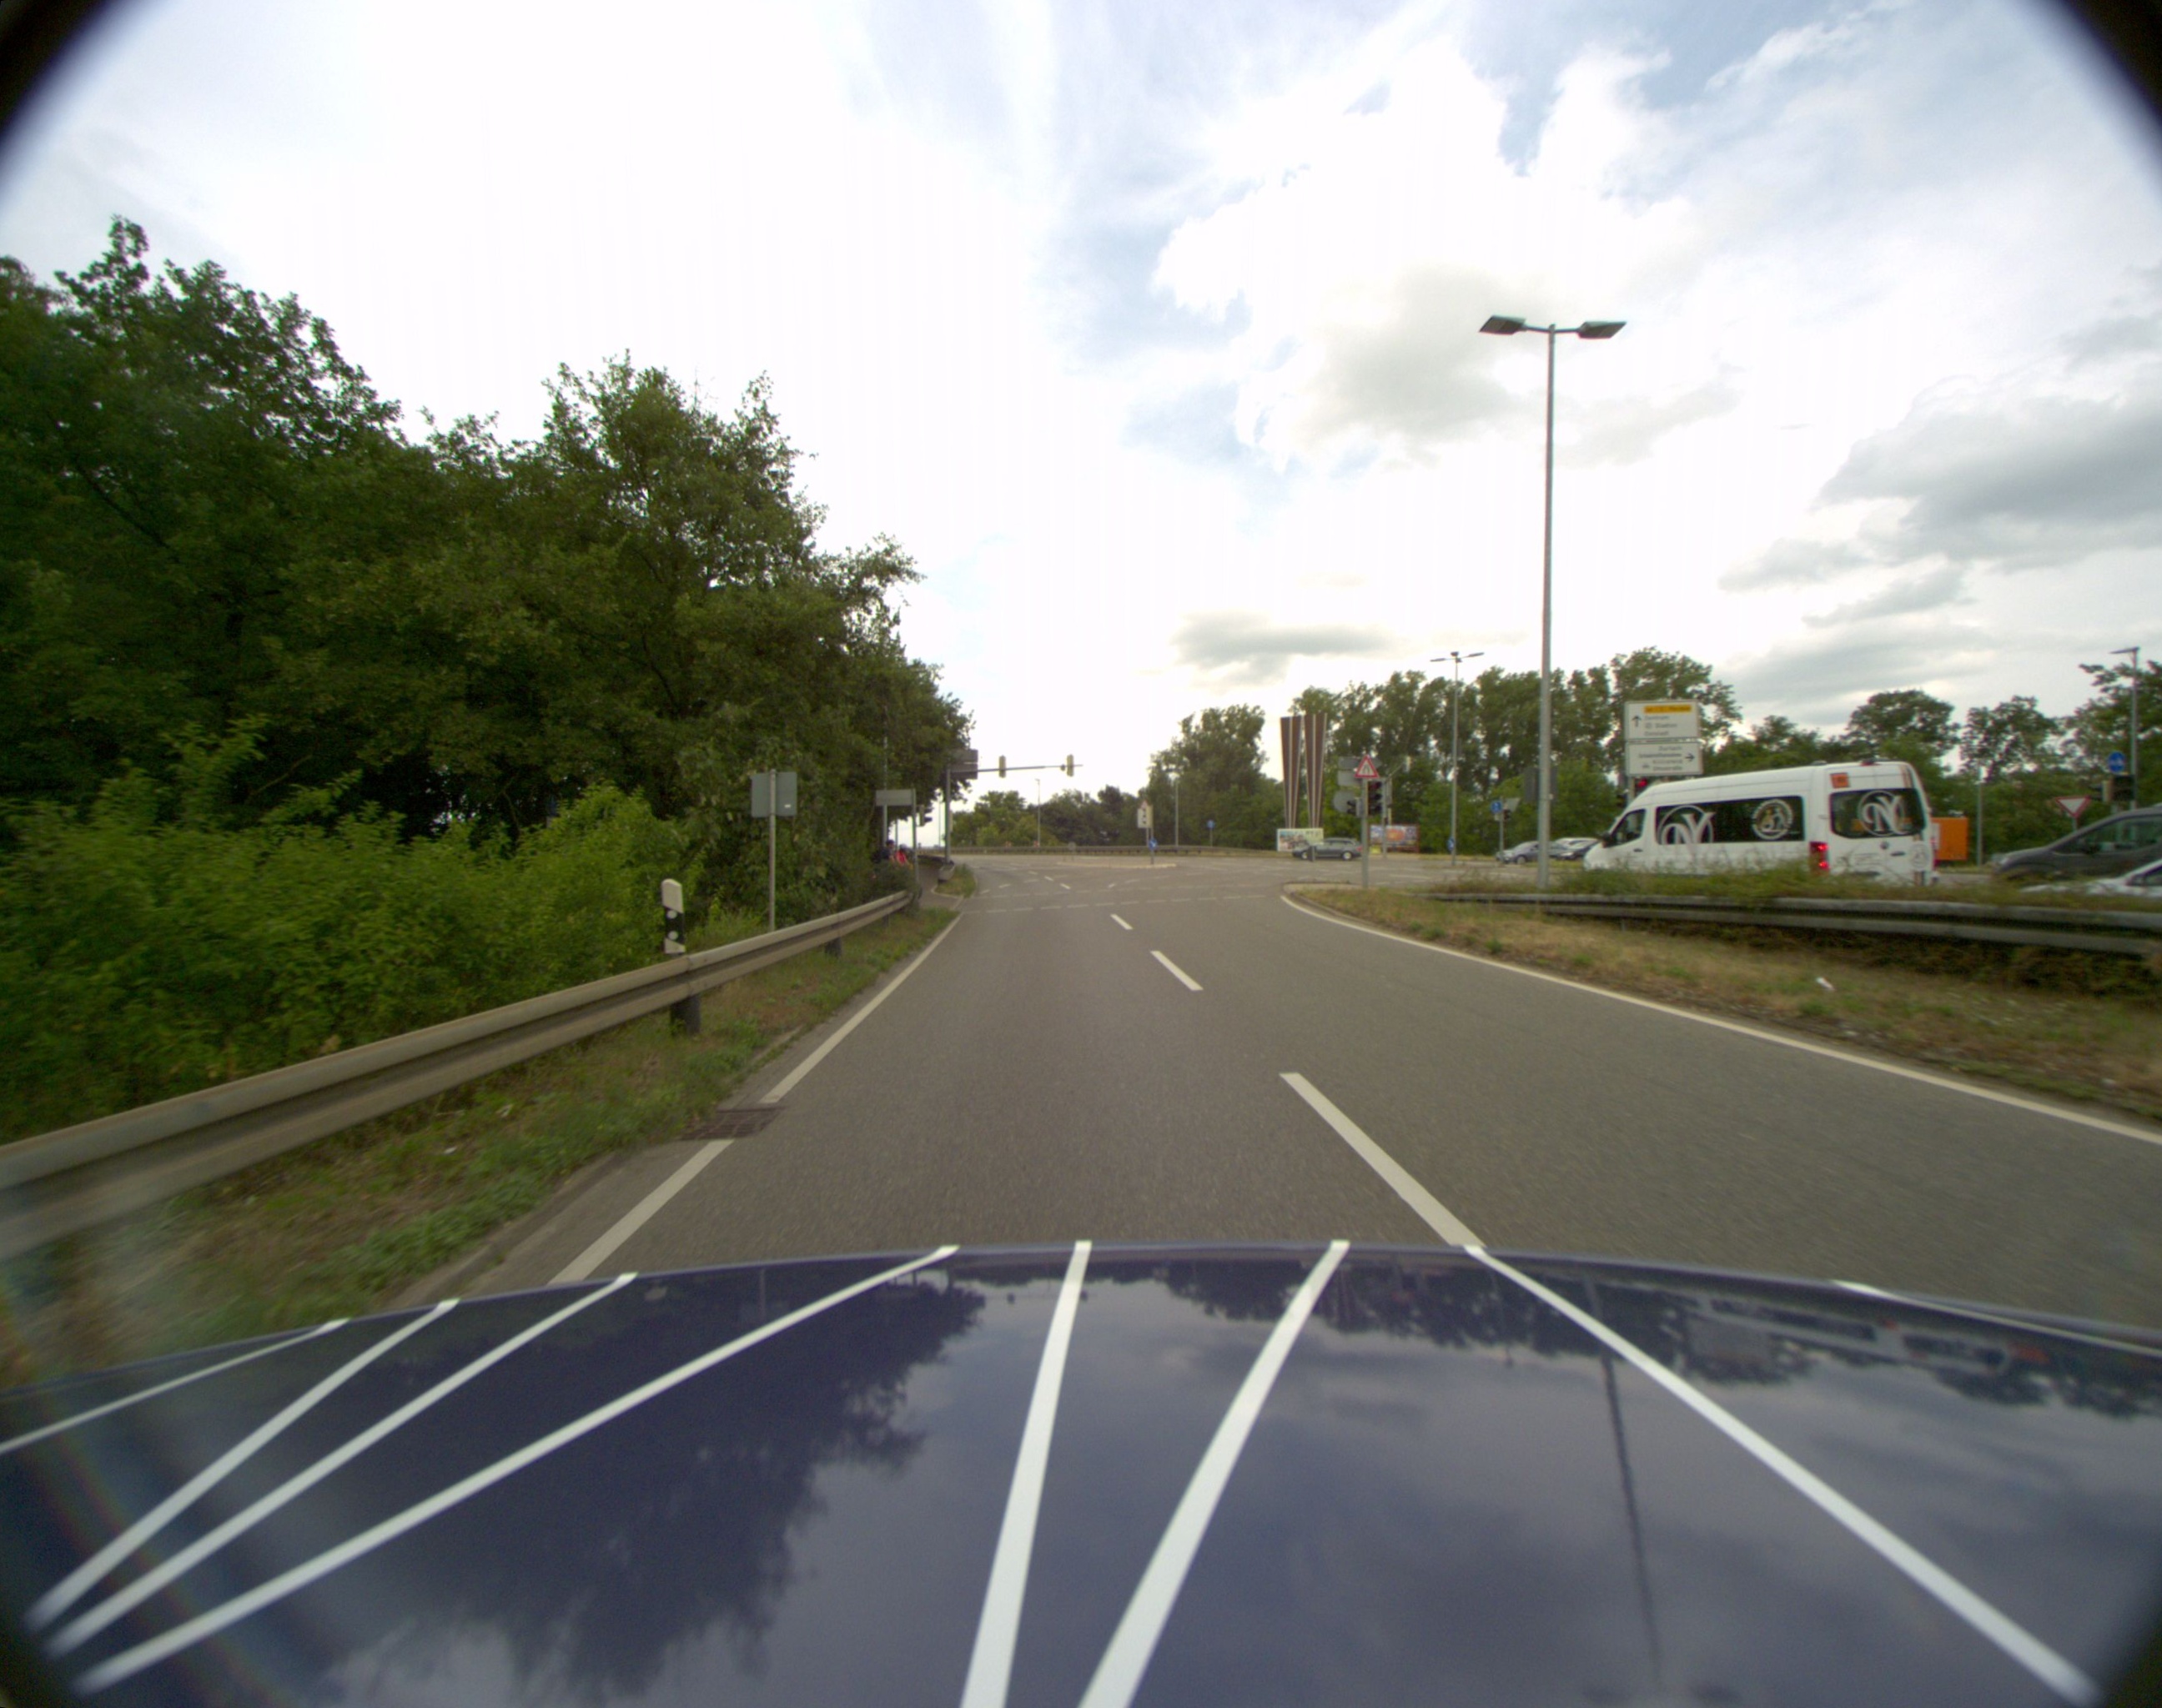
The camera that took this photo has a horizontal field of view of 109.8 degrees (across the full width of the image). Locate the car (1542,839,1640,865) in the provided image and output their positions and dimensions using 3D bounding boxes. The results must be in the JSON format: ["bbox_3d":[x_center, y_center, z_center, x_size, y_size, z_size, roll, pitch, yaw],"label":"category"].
[{"bbox_3d":[27.694,-0.122,41.362,4.070,1.303,1.999,-1,1,-5],"label":"car"}]

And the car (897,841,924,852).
[{"bbox_3d":[-22.600,-1.032,100.716,2.003,1.447,4.641,-2,2,-32],"label":"car"}]

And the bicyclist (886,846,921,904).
[{"bbox_3d":[-5.386,0.612,23.049,0.852,1.722,0.637,0,2,7],"label":"bicyclist"}]

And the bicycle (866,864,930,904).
[{"bbox_3d":[-5.543,0.904,23.025,1.745,1.132,0.631,2,2,7],"label":"bicycle"}]

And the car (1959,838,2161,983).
[{"bbox_3d":[12.427,0.608,7.666,1.999,1.490,4.398,-1,1,-1],"label":"car"}]

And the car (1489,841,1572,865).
[{"bbox_3d":[26.636,-0.090,45.113,3.805,1.303,1.999,-1,1,-5],"label":"car"}]

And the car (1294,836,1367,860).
[{"bbox_3d":[16.293,-0.392,49.906,4.370,1.480,2.001,-1,2,12],"label":"car"}]

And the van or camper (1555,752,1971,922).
[{"bbox_3d":[12.499,-0.326,14.917,2.166,2.574,6.493,-1,1,-2],"label":"van or camper"}]

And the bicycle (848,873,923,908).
[{"bbox_3d":[-5.489,1.017,21.454,1.978,0.935,0.660,1,1,-9],"label":"bicycle"}]

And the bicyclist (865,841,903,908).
[{"bbox_3d":[-5.549,0.561,21.419,0.952,1.833,0.663,1,1,-10],"label":"bicyclist"}]

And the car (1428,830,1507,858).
[{"bbox_3d":[25.746,-0.667,50.688,4.255,1.773,1.926,-1,2,-2],"label":"car"}]

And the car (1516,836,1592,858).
[{"bbox_3d":[29.955,-0.433,48.176,3.885,1.303,1.642,-1,2,-6],"label":"car"}]

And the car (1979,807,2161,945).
[{"bbox_3d":[15.829,0.283,10.469,1.998,1.891,4.166,-1,1,1],"label":"car"}]

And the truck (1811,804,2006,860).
[{"bbox_3d":[49.543,-1.319,45.593,9.274,3.118,2.969,-1,2,-6],"label":"truck"}]
